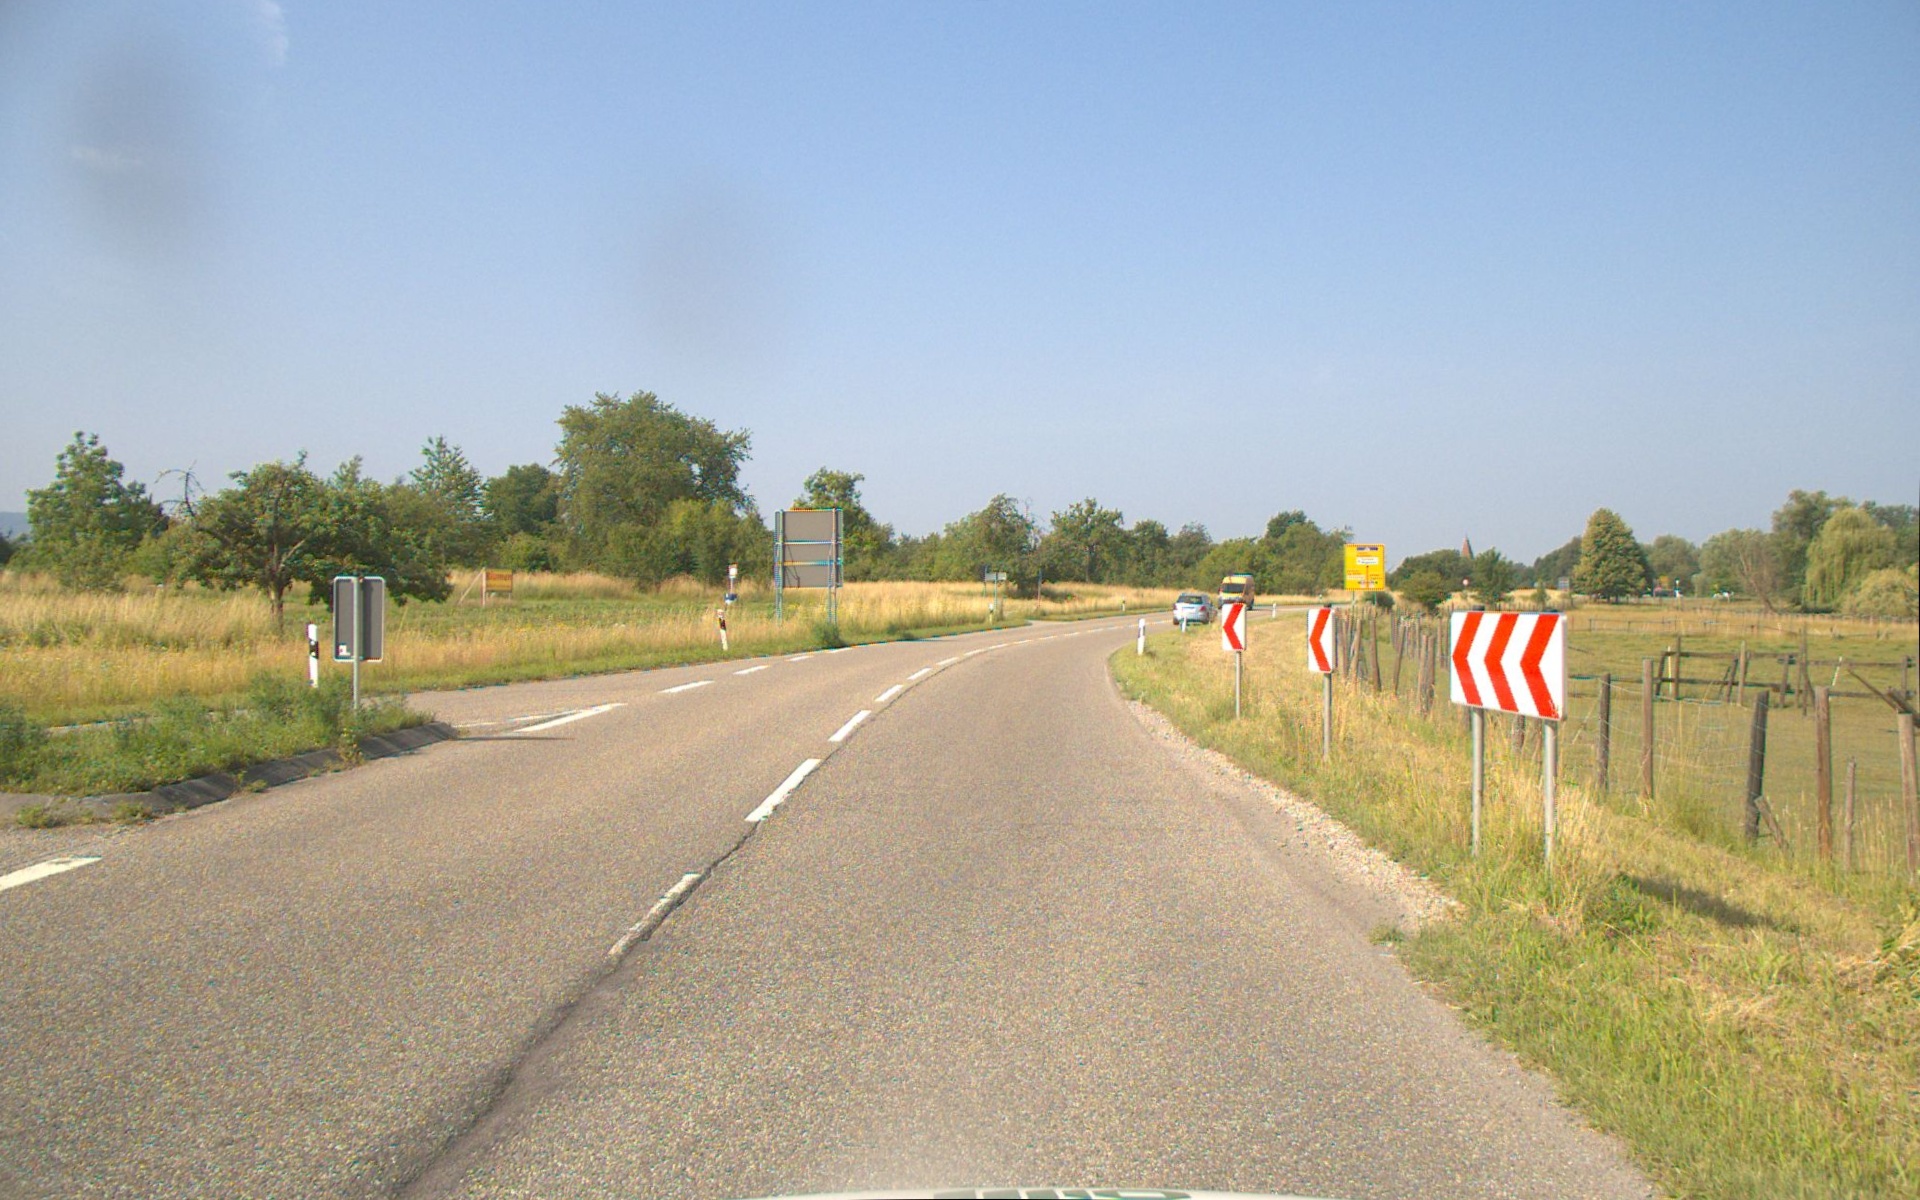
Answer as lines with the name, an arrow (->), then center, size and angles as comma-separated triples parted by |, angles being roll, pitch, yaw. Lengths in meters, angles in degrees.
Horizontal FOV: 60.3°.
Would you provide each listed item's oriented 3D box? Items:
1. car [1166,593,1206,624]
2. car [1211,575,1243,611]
car -> 12.024, 0.447, 87.712 | 1.858, 1.538, 4.003 | 2, 0, 11
car -> 20.525, -0.549, 126.971 | 2.078, 2.743, 5.273 | 1, 1, 12
